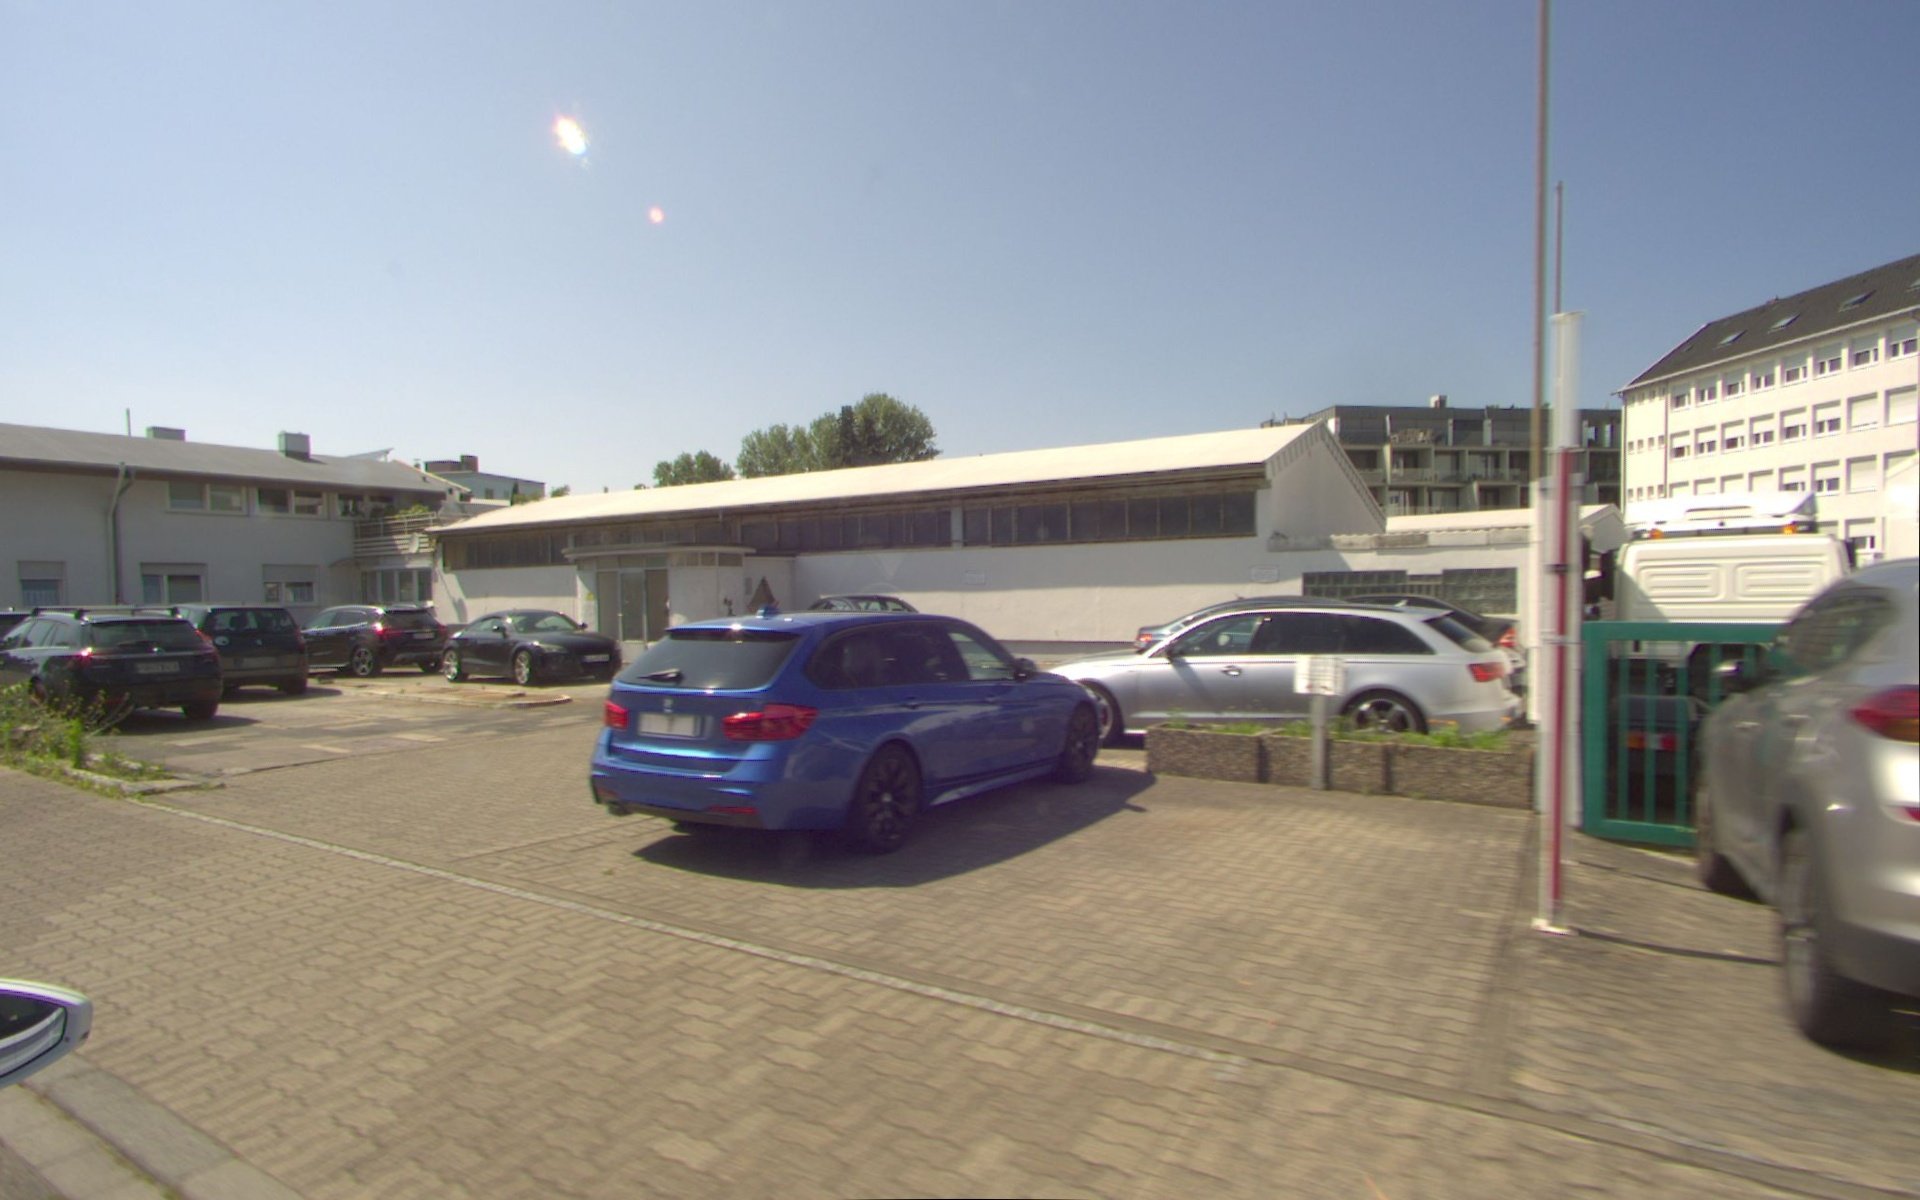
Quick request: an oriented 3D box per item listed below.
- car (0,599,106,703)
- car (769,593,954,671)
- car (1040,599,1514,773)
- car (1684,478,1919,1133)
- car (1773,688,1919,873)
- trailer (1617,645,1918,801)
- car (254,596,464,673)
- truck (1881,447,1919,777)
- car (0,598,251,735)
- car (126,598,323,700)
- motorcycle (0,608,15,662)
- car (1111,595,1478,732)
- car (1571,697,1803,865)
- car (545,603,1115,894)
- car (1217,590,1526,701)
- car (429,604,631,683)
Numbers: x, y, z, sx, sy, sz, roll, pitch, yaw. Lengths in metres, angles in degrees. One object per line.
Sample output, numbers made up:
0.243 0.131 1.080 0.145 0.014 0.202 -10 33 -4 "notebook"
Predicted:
-16.354 0.806 16.856 4.231 1.579 1.808 -1 1 32 "car"
-2.021 0.571 19.480 1.694 1.342 4.156 -1 0 -36 "car"
3.217 0.763 10.364 4.388 1.461 1.883 -1 0 30 "car"
4.200 0.654 4.027 1.741 1.702 4.197 -1 -5 32 "car"
6.756 1.188 7.052 1.269 1.016 2.892 -1 -3 33 "car"
9.203 1.245 11.943 2.267 1.212 5.449 -1 -1 34 "trailer"
-13.070 0.735 21.792 4.079 1.516 1.760 -1 2 22 "car"
9.989 0.000 8.026 2.491 3.465 7.507 -1 -3 32 "truck"
-11.984 0.800 13.804 4.880 1.588 1.854 -1 1 32 "car"
-12.902 0.827 17.522 3.571 1.615 1.755 0 -3 36 "car"
-24.149 0.891 24.079 0.784 1.297 1.866 0 2 30 "motorcycle"
4.243 0.725 12.924 4.132 1.461 1.879 -1 1 36 "car"
5.678 1.319 8.024 1.269 0.926 2.892 -1 -3 33 "car"
-0.568 0.753 7.373 1.865 1.460 4.344 0 0 32 "car"
6.131 0.622 15.054 3.974 1.411 1.879 -1 1 36 "car"
-8.173 0.770 18.919 4.046 1.342 1.637 -1 0 35 "car"
